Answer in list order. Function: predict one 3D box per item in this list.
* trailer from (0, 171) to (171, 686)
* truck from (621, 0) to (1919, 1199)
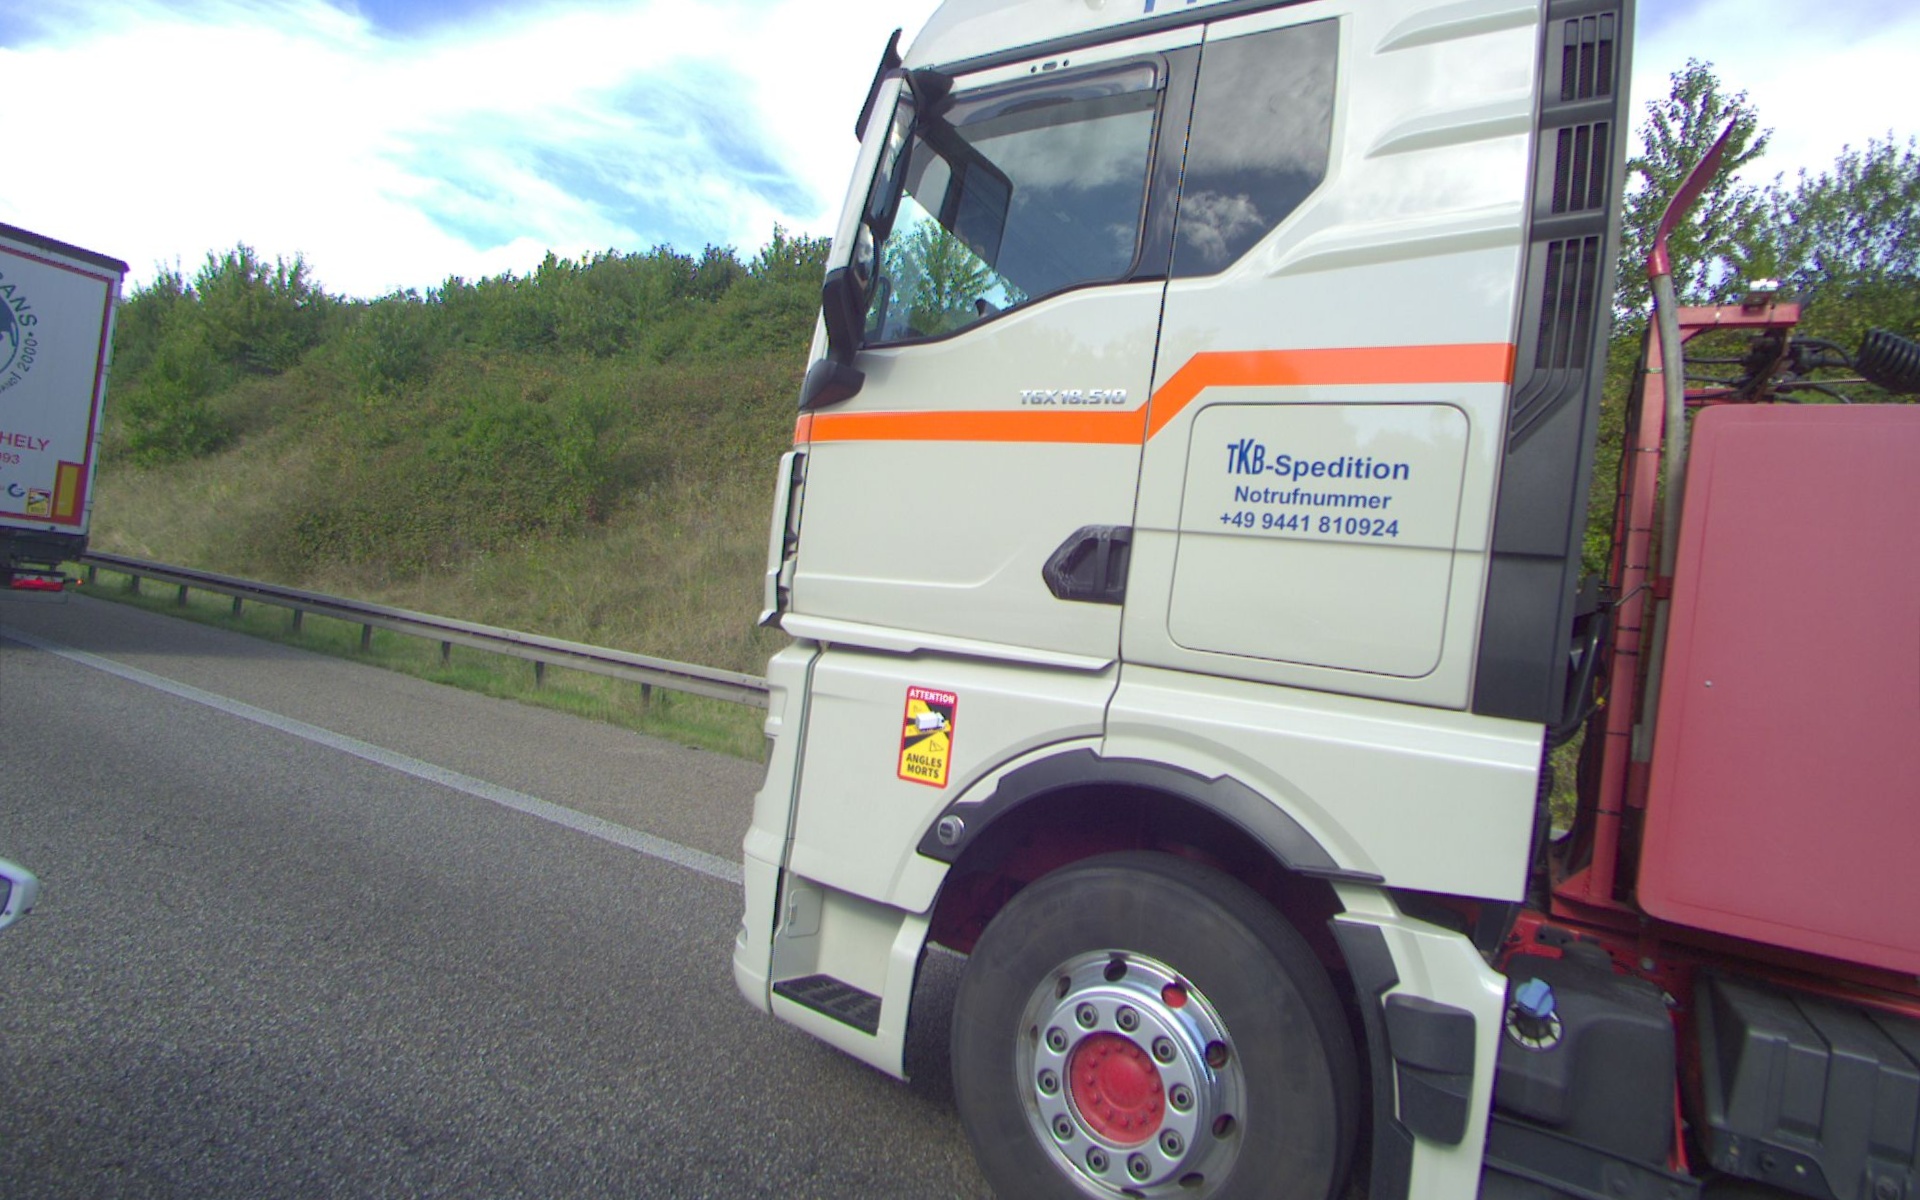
[{"bbox_3d":[-14.747,-2.276,12.372,13.066,4.715,3.008,7,-1,31],"label":"trailer"},{"bbox_3d":[2.424,-0.235,2.606,5.806,4.091,2.807,7,-1,32],"label":"truck"}]
